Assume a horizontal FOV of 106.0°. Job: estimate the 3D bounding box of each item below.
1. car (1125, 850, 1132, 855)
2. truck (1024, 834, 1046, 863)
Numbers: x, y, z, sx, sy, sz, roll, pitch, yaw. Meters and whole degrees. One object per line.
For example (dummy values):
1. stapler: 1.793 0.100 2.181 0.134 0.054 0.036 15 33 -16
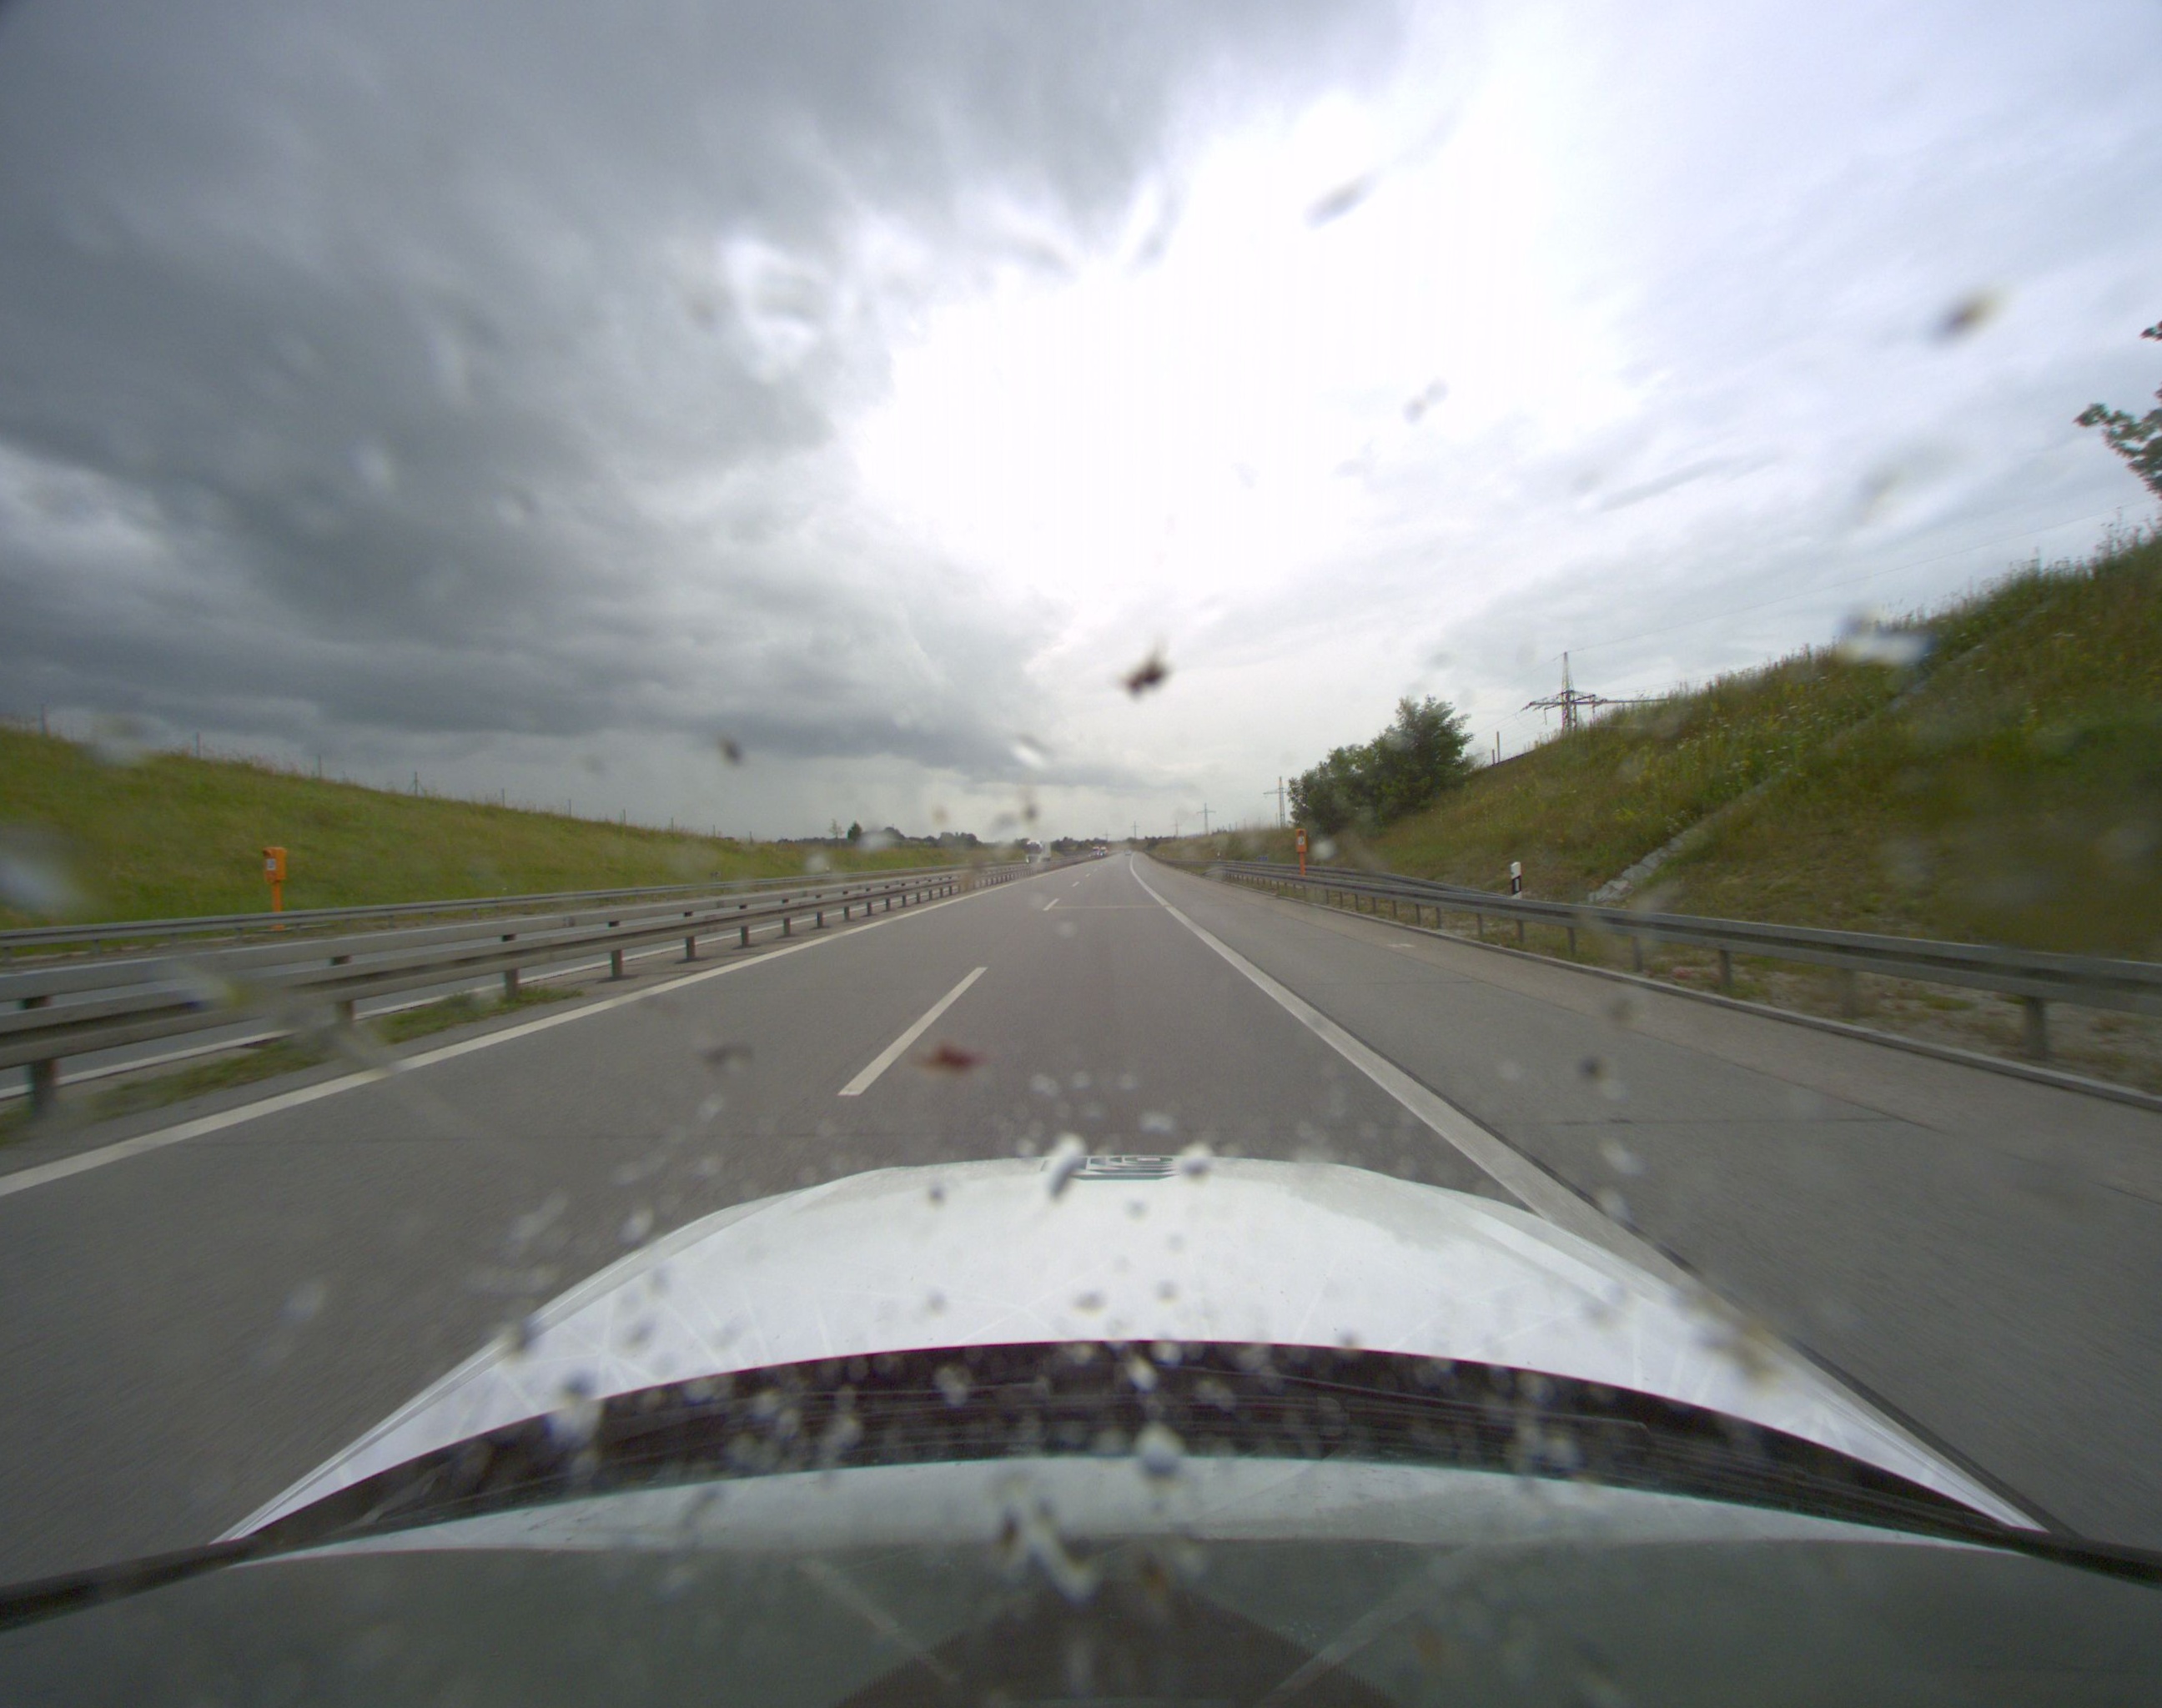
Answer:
1. car: 15.263 -0.472 261.841 1.947 1.651 4.006 -2 -1 5
2. truck: -7.553 -0.848 135.210 2.784 4.647 6.925 -2 0 3
